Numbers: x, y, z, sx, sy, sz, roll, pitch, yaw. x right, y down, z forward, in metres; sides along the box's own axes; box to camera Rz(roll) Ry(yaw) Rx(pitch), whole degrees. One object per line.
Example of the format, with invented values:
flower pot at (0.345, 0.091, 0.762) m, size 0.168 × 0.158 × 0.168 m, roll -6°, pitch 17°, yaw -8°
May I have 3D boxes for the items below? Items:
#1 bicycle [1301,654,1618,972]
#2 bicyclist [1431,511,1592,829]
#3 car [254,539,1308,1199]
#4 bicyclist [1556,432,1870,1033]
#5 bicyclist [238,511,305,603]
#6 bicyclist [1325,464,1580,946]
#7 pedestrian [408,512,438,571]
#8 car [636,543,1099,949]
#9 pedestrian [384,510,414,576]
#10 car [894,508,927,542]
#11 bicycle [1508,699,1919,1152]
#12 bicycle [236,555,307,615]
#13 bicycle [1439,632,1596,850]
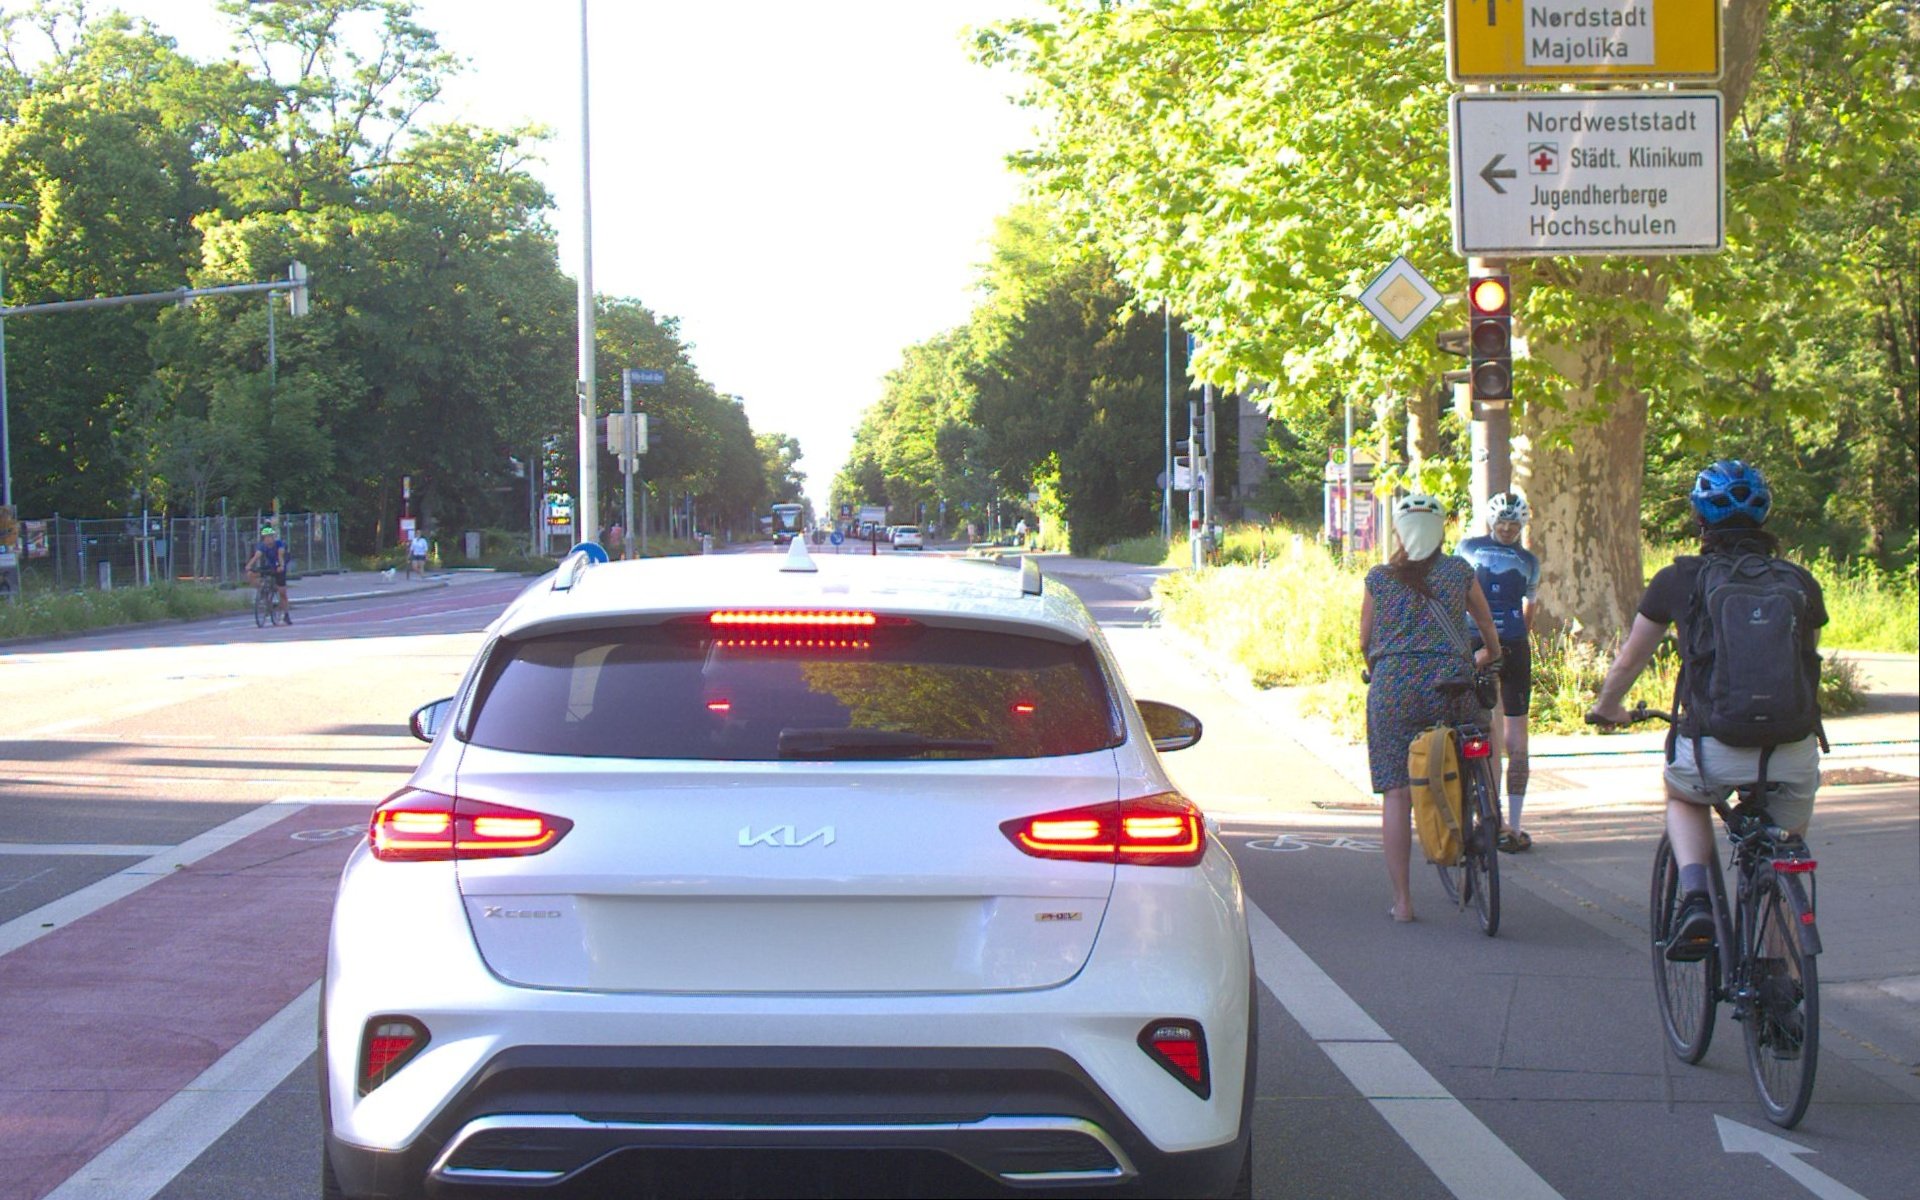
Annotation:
bicycle at (1.895, 0.775, 13.452) m, size 0.758 × 1.009 × 2.570 m, roll 1°, pitch 1°, yaw -2°
bicyclist at (2.664, 0.327, 16.654) m, size 0.554 × 1.473 × 0.717 m, roll -4°, pitch 1°, yaw -2°
car at (-0.373, 0.614, 7.934) m, size 1.821 × 1.475 × 3.937 m, roll 0°, pitch 1°, yaw -2°
bicyclist at (2.067, 0.347, 9.514) m, size 0.665 × 1.596 × 0.721 m, roll 1°, pitch 1°, yaw -2°
bicyclist at (-12.190, -0.772, 60.918) m, size 0.875 × 1.603 × 1.188 m, roll -1°, pitch 1°, yaw 1°
bicyclist at (1.905, 0.380, 13.447) m, size 0.753 × 1.789 × 1.165 m, roll 1°, pitch 1°, yaw -2°
pedestrian at (-16.181, -1.762, 103.631) m, size 0.785 × 1.779 × 0.751 m, roll 0°, pitch 1°, yaw 0°
car at (-0.417, 0.526, 14.842) m, size 1.728 × 1.478 × 3.517 m, roll -1°, pitch 1°, yaw -2°
pedestrian at (-17.112, -1.743, 104.830) m, size 0.641 × 2.007 × 0.753 m, roll 0°, pitch 1°, yaw 13°
car at (-3.034, -4.613, 211.491) m, size 1.993 × 2.007 × 4.000 m, roll -2°, pitch 1°, yaw -1°
bicycle at (2.062, 0.836, 9.535) m, size 0.668 × 1.006 × 2.081 m, roll 1°, pitch 1°, yaw -2°
bicycle at (-12.179, -0.281, 60.854) m, size 0.663 × 0.985 × 2.504 m, roll -1°, pitch 1°, yaw 2°
bicycle at (2.688, 0.659, 16.675) m, size 0.401 × 0.953 × 1.551 m, roll -4°, pitch 1°, yaw -2°
